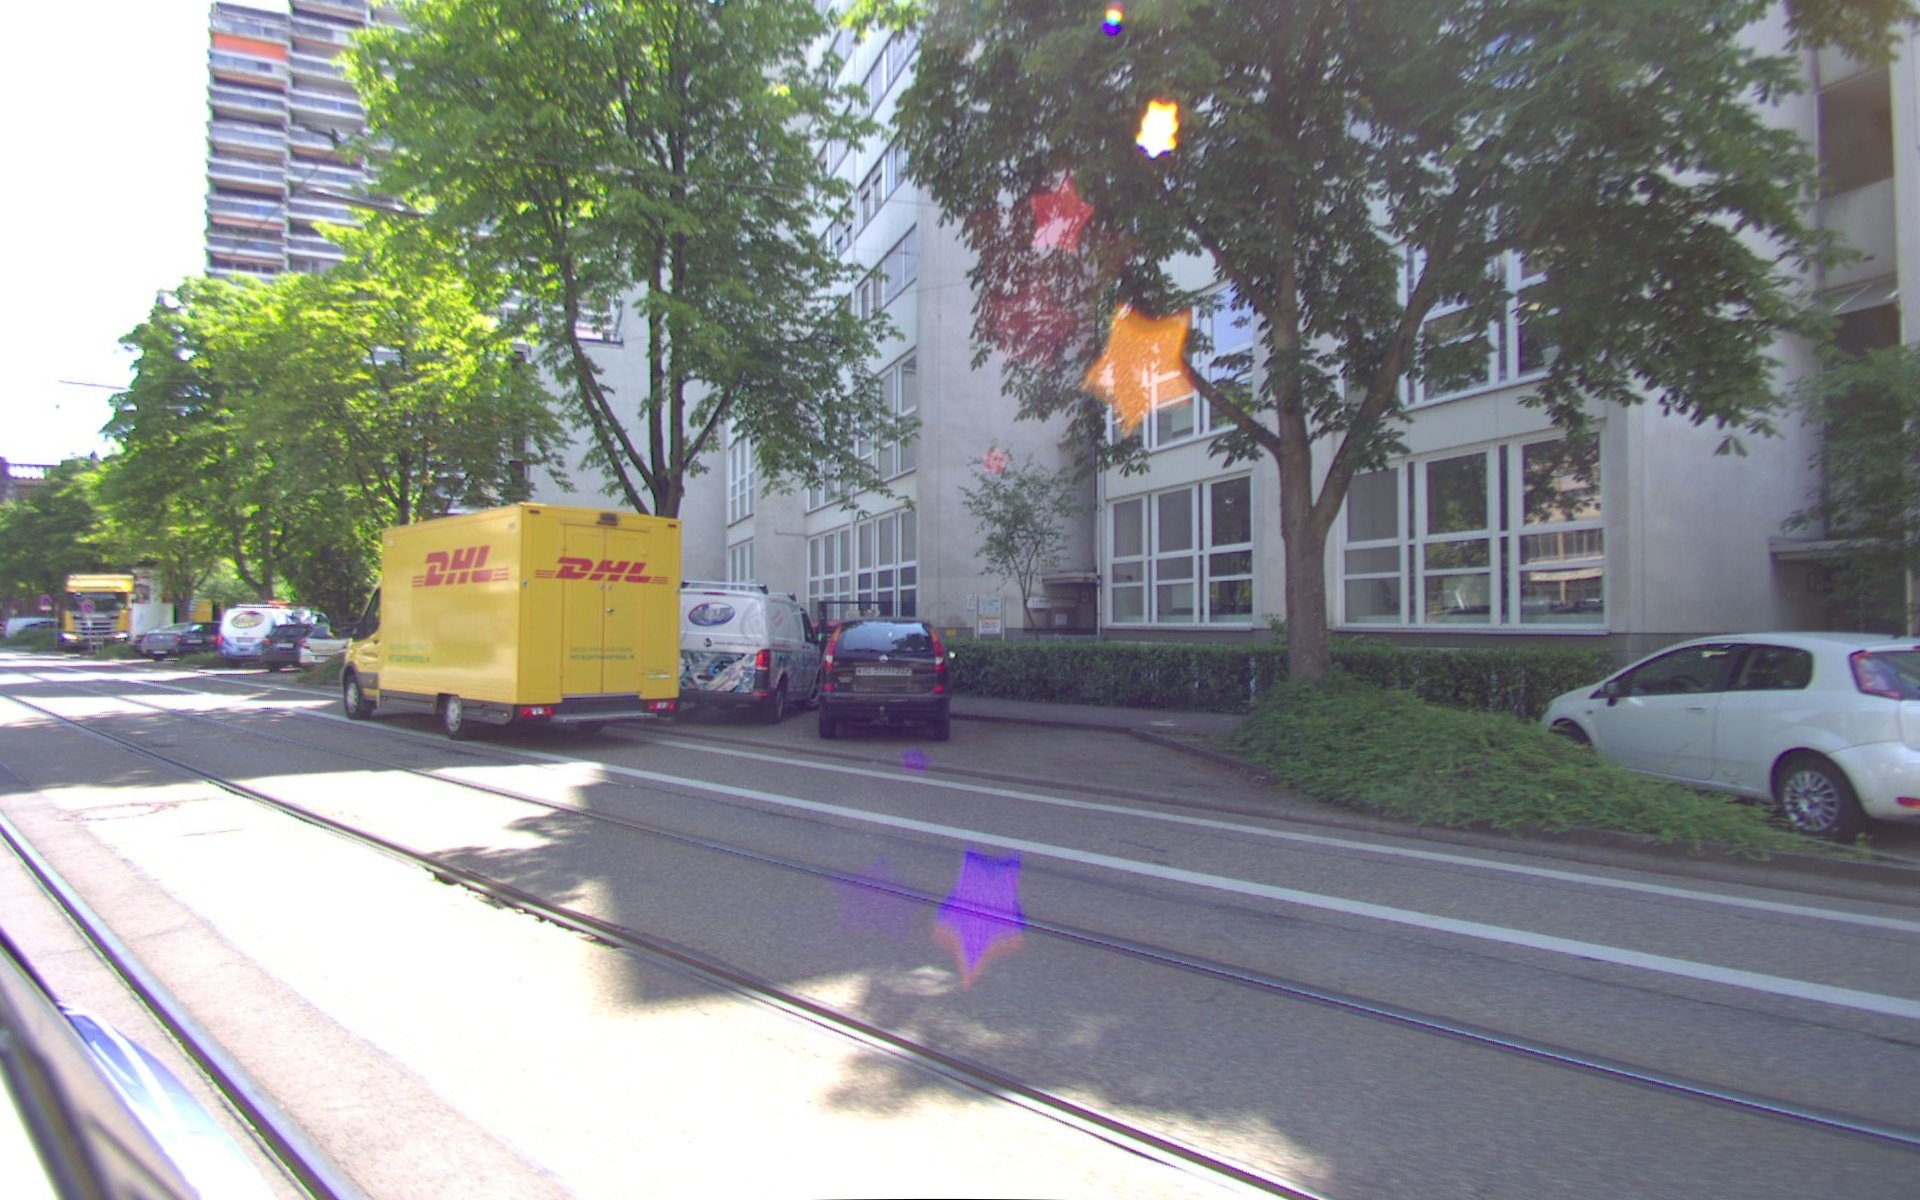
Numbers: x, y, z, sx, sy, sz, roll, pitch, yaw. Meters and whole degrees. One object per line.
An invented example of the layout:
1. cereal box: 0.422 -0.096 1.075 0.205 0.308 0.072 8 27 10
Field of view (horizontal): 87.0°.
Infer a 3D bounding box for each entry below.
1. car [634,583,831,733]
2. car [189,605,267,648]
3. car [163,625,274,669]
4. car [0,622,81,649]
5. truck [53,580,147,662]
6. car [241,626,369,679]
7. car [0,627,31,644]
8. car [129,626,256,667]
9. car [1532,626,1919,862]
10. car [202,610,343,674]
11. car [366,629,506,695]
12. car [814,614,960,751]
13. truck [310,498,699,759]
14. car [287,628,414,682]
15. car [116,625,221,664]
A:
1. car: -3.500 0.929 16.612 1.999 2.078 4.759 1 -3 2
2. car: -46.407 1.617 64.340 2.147 2.585 6.746 0 0 -19
3. car: -28.030 1.768 38.414 1.666 1.556 3.713 1 -3 -5
4. car: -66.767 2.540 73.324 1.879 1.805 4.537 -1 -1 8
5. truck: -44.812 1.028 52.993 2.679 3.871 10.991 -1 0 -35
6. car: -20.401 1.641 31.709 1.790 1.518 3.713 1 -3 -5
7. car: -90.965 3.366 95.429 1.981 1.578 4.761 -1 -1 12
8. car: -30.477 1.858 40.364 1.848 1.518 4.203 1 -3 0
9. car: 6.697 0.966 8.237 1.679 1.467 3.816 1 -1 -5
10. car: -22.953 1.415 34.048 1.892 1.949 4.763 1 -3 -7
11. car: -12.849 1.518 25.099 1.735 1.444 4.006 2 -3 -7
12. car: -1.040 1.080 14.076 1.721 1.612 3.922 1 -3 -5
13. truck: -6.844 0.437 14.527 7.377 2.874 2.335 -2 -3 43
14. car: -18.069 1.611 30.216 1.736 1.478 3.713 1 -3 -5
15. car: -33.097 1.856 42.448 1.735 1.518 3.714 1 -3 -6
